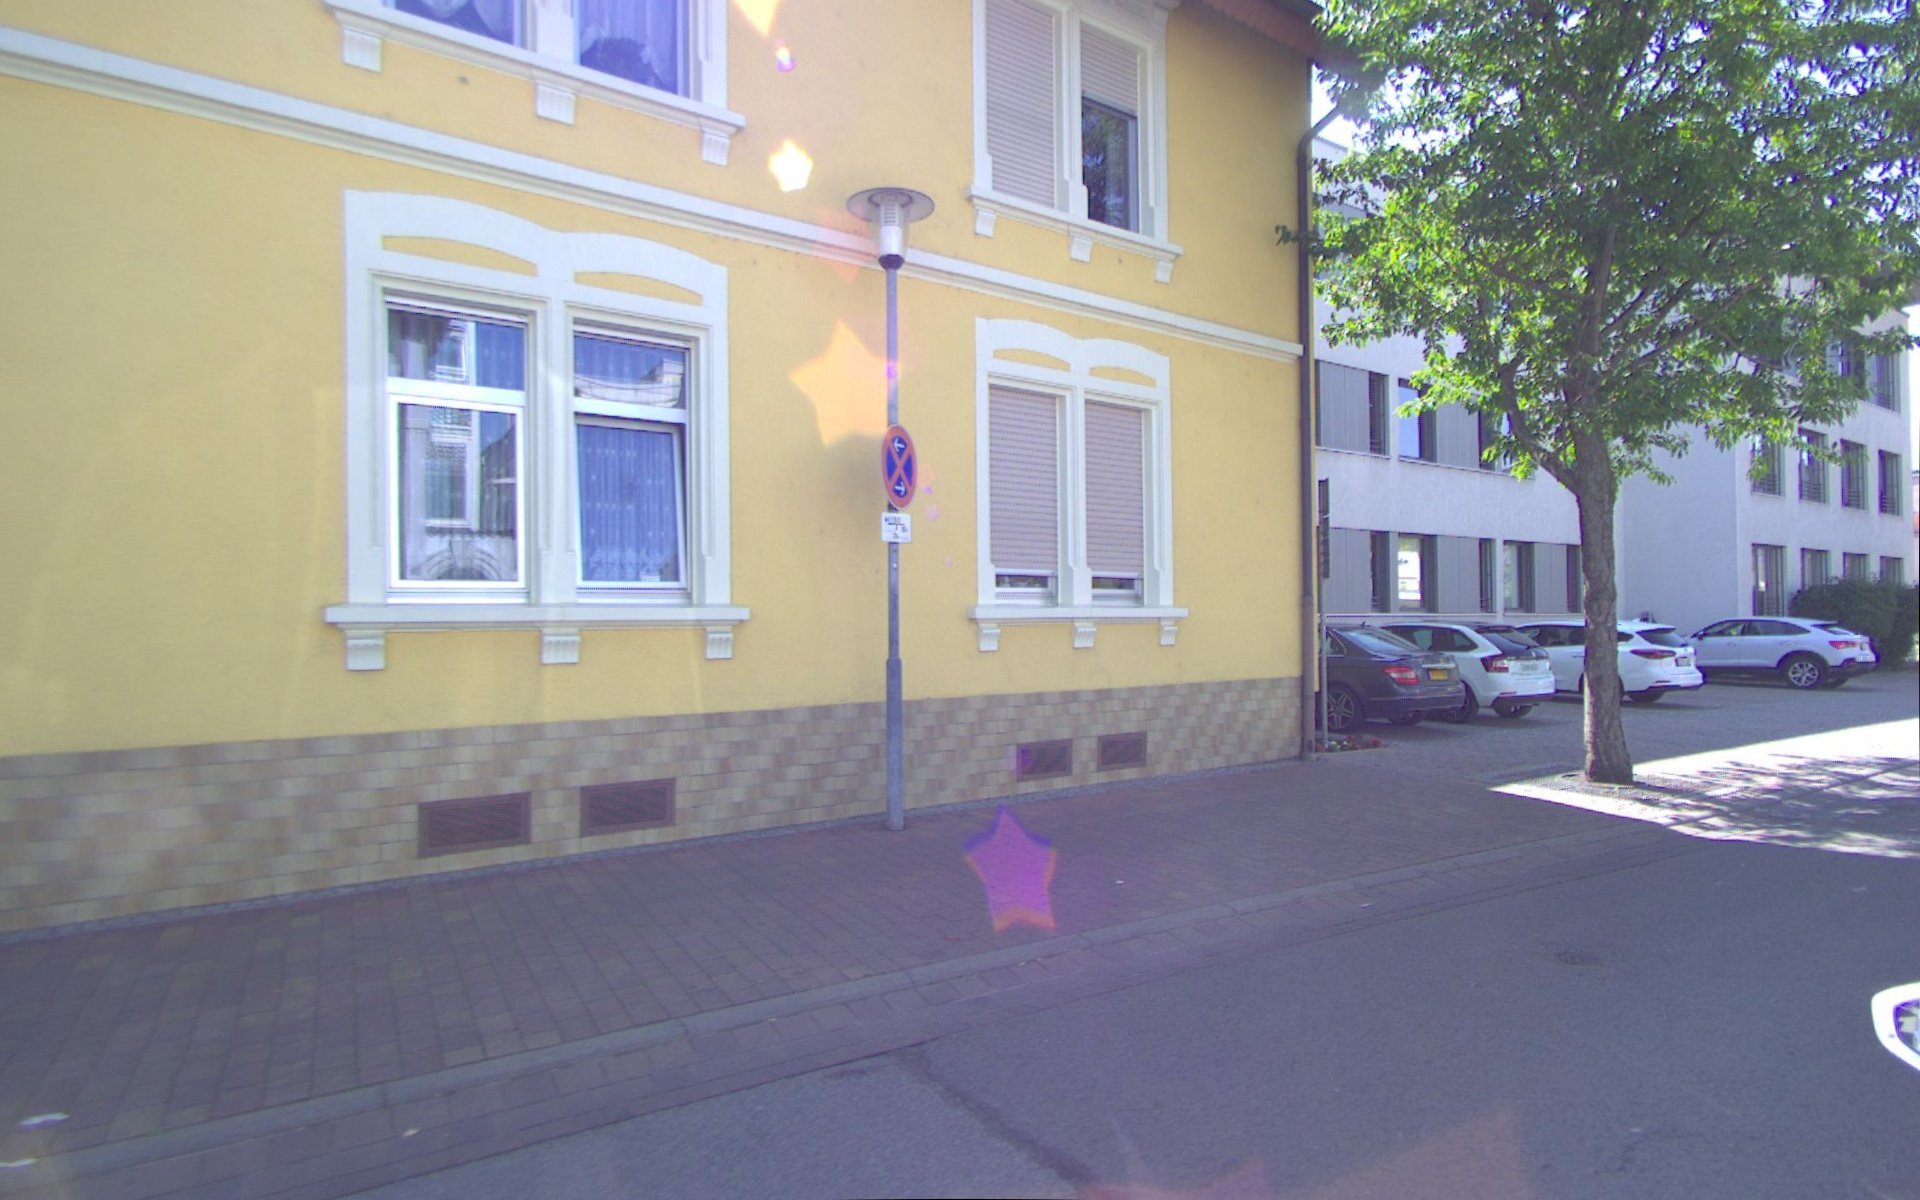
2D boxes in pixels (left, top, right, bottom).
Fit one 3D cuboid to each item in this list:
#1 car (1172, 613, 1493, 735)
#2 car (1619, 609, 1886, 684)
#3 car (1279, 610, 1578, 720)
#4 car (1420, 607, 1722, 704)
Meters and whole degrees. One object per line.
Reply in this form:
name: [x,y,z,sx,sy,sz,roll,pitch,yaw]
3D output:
car: [5.212,0.933,14.503,1.953,1.450,3.959,0,0,-36]
car: [18.295,0.995,23.407,2.125,1.575,4.480,1,-1,-33]
car: [7.225,0.913,15.859,1.788,1.470,3.963,0,0,-34]
car: [11.271,0.954,18.861,1.913,1.575,4.480,-1,-1,-32]
